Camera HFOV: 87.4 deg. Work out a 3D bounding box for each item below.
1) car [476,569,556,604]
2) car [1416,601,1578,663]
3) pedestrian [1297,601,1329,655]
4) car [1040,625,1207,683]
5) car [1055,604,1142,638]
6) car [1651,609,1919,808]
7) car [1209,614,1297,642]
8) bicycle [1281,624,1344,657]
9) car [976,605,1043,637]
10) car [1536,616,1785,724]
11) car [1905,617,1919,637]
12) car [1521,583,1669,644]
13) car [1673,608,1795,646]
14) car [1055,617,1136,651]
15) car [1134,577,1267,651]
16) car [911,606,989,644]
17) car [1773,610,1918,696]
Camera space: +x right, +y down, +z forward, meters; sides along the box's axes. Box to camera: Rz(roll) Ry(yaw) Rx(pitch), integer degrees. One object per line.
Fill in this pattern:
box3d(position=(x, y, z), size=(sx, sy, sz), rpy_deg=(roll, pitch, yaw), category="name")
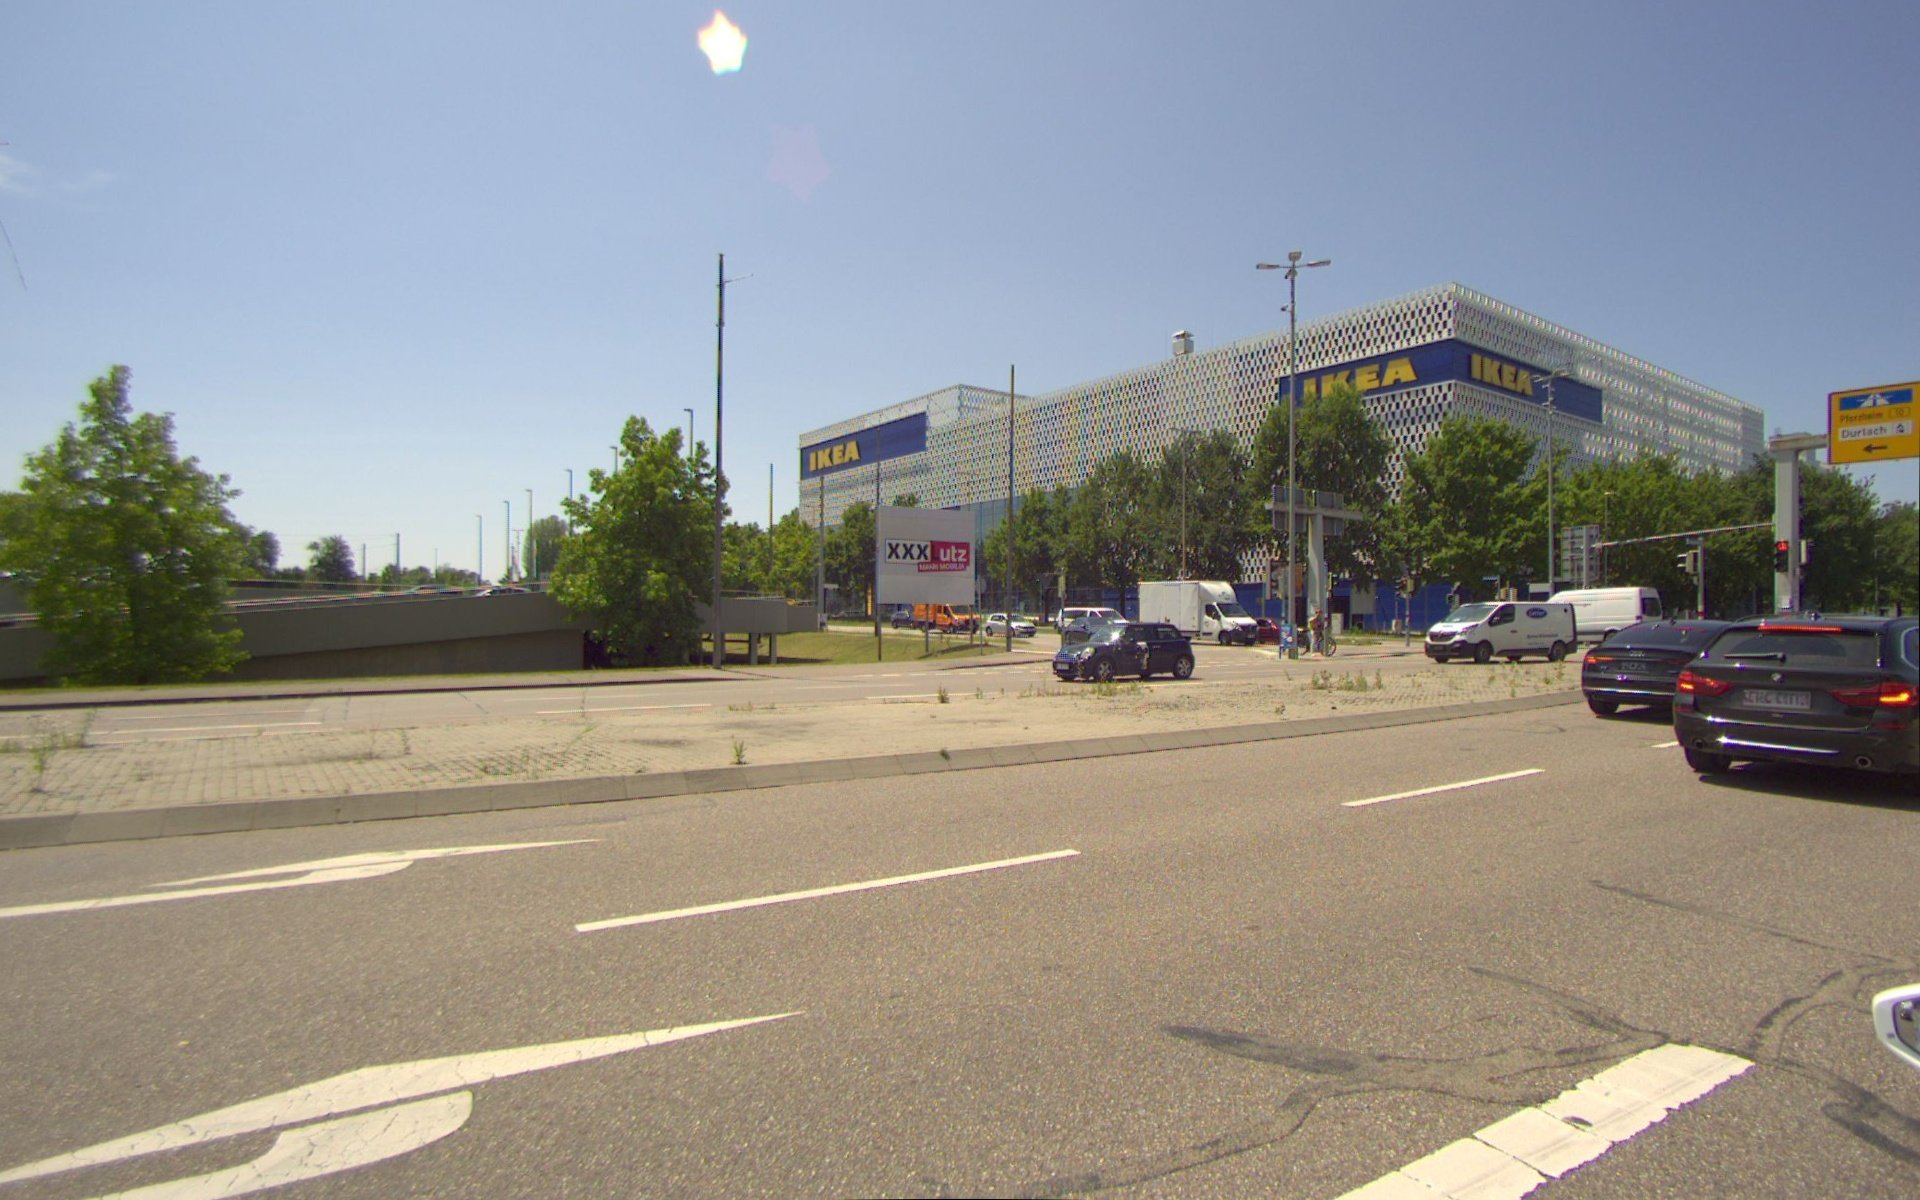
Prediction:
box3d(position=(-26.150, -0.755, 59.220), size=(3.966, 1.934, 1.977), rpy_deg=(1, -1, -40), category="car")
box3d(position=(17.289, 0.973, 32.364), size=(4.762, 1.875, 1.830), rpy_deg=(0, 0, -17), category="car")
box3d(position=(13.663, 1.076, 38.864), size=(0.858, 2.040, 0.896), rpy_deg=(0, -1, -42), category="pedestrian")
box3d(position=(4.090, 1.292, 24.979), size=(3.849, 1.320, 1.846), rpy_deg=(0, -2, -32), category="car")
box3d(position=(7.957, 1.203, 58.245), size=(1.978, 1.835, 5.423), rpy_deg=(1, -1, -32), category="car")
box3d(position=(8.564, 0.839, 9.555), size=(4.576, 1.485, 1.788), rpy_deg=(0, -1, -35), category="car")
box3d(position=(15.124, 1.443, 52.043), size=(1.758, 1.360, 4.255), rpy_deg=(0, 0, -35), category="car")
box3d(position=(13.644, 1.539, 38.899), size=(0.989, 1.229, 2.073), rpy_deg=(0, -1, -42), category="bicycle")
box3d(position=(3.179, 1.359, 65.668), size=(1.980, 2.040, 4.669), rpy_deg=(1, -1, -34), category="car")
box3d(position=(10.764, 0.970, 15.334), size=(4.488, 1.409, 1.736), rpy_deg=(1, -1, -36), category="car")
box3d(position=(80.480, 2.275, 83.663), size=(4.455, 1.619, 1.861), rpy_deg=(1, -1, -38), category="car")
box3d(position=(28.816, 0.574, 45.802), size=(1.974, 2.601, 5.471), rpy_deg=(1, 0, -27), category="car")
box3d(position=(29.589, 1.025, 38.478), size=(1.606, 1.375, 3.349), rpy_deg=(1, -2, -33), category="car")
box3d(position=(6.426, 1.601, 48.024), size=(1.908, 1.528, 3.973), rpy_deg=(1, -1, -27), category="car")
box3d(position=(12.157, 0.683, 51.362), size=(2.161, 3.533, 6.856), rpy_deg=(-1, 1, -35), category="car")
box3d(position=(-0.815, 1.760, 72.273), size=(2.548, 2.568, 6.570), rpy_deg=(1, -1, -33), category="car")
box3d(position=(17.600, 0.968, 19.901), size=(3.971, 1.514, 1.781), rpy_deg=(1, 0, -43), category="car")
